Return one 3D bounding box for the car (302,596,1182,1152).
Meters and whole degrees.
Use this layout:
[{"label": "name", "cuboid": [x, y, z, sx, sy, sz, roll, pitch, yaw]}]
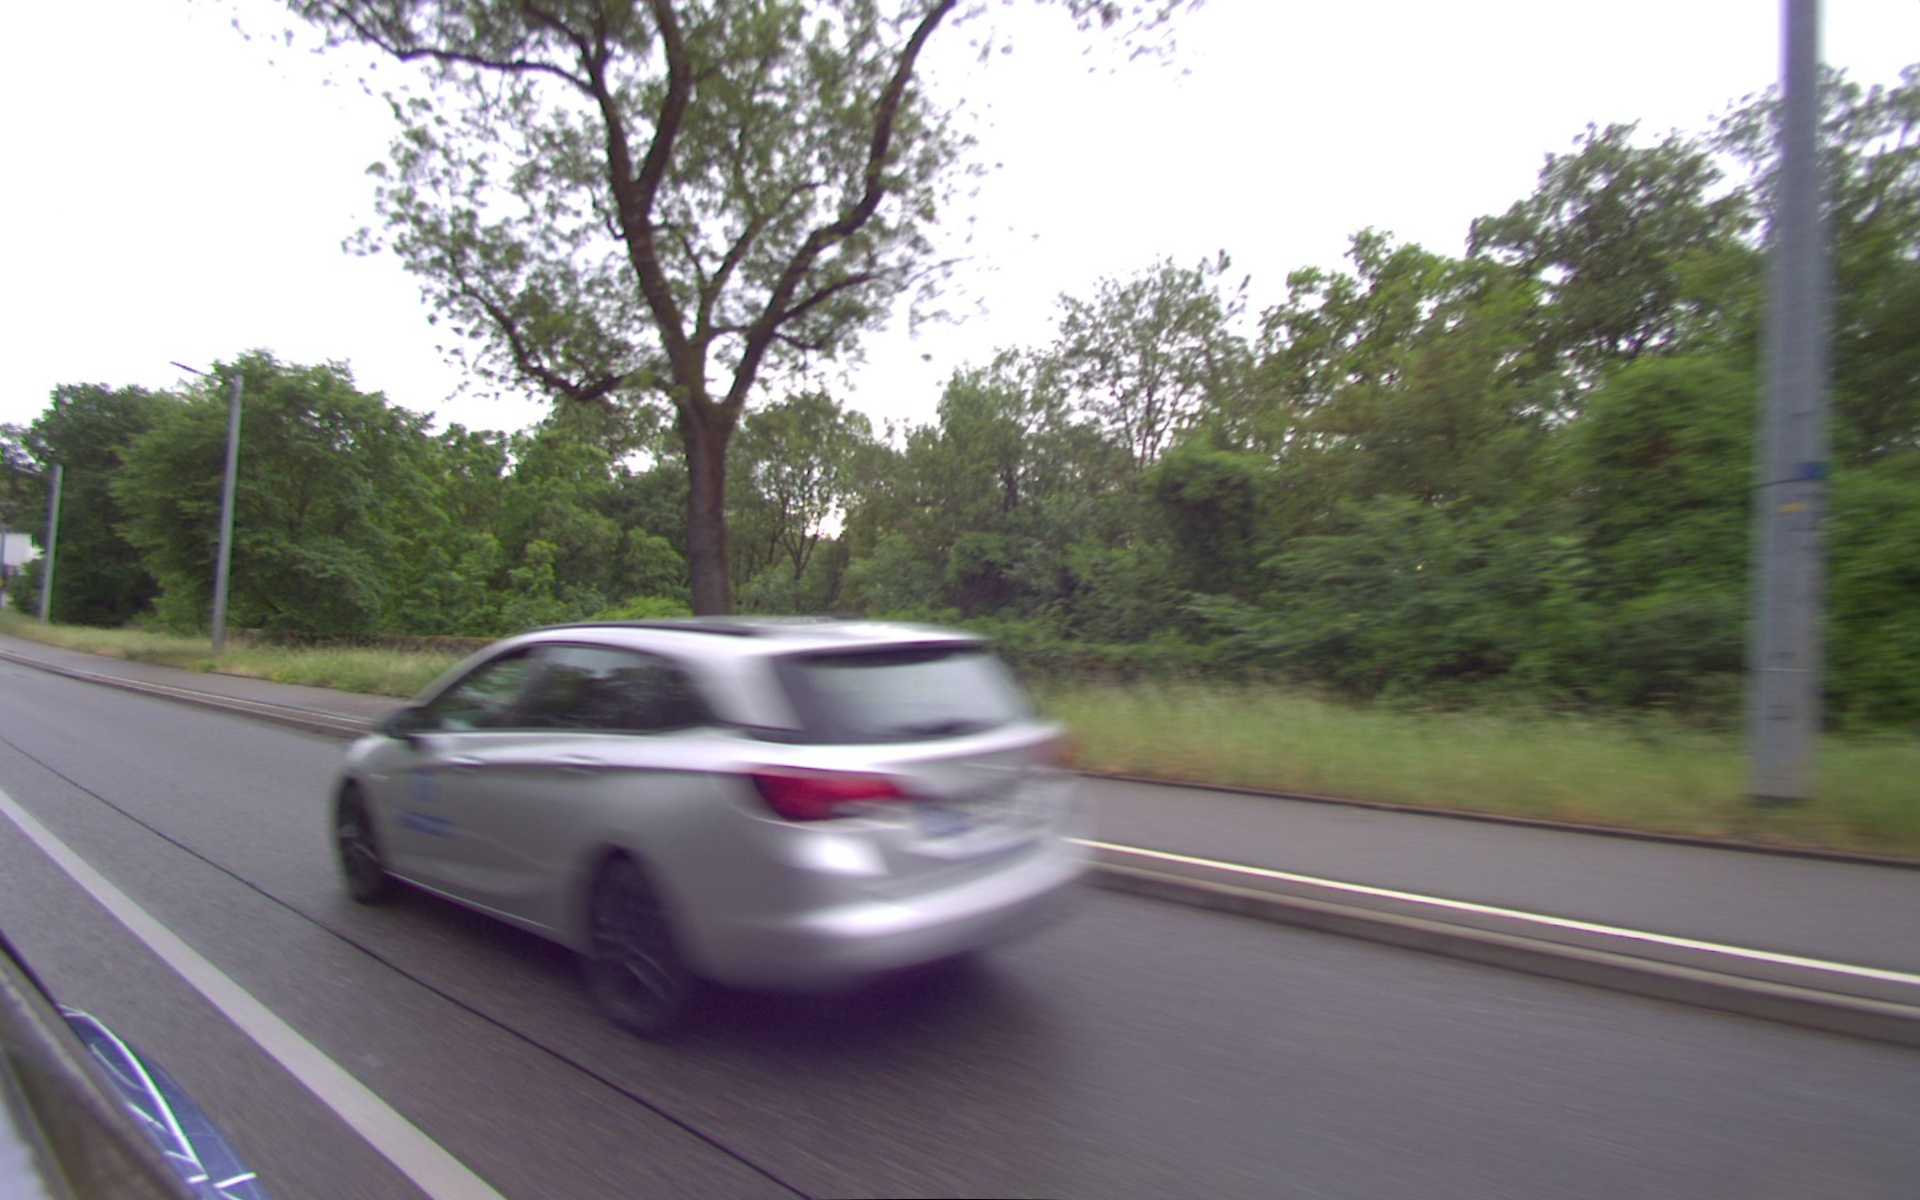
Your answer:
[{"label": "car", "cuboid": [-1.387, 0.746, 4.788, 4.473, 1.441, 1.761, -1, -1, 41]}]
